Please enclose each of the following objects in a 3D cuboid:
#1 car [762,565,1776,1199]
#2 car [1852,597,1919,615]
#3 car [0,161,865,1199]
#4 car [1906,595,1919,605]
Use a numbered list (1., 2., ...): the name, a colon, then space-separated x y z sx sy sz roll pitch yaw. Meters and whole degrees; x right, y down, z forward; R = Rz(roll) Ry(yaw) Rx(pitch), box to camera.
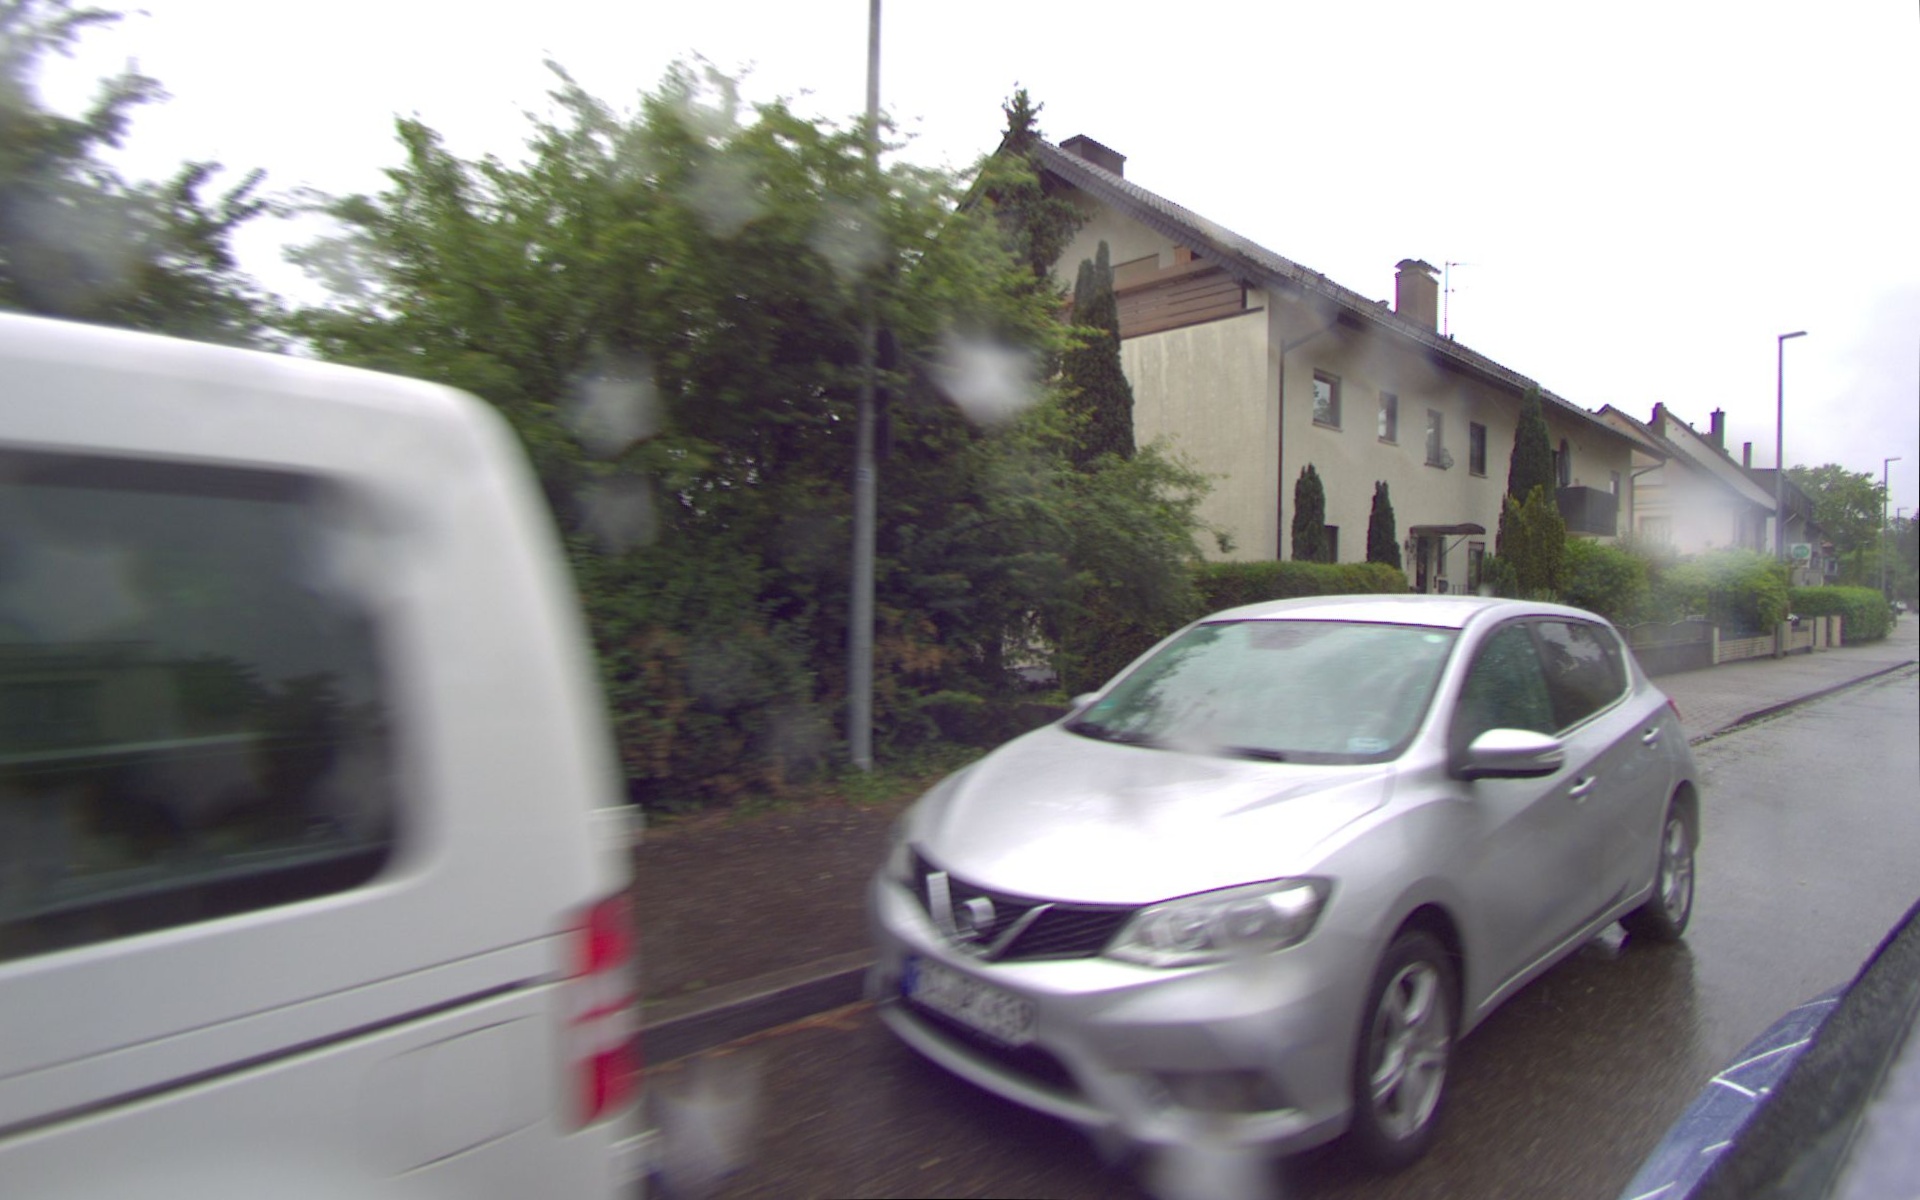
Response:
1. car: 1.545 0.654 4.016 4.231 1.478 1.793 0 1 -39
2. car: 76.242 0.474 82.920 1.879 1.381 4.392 0 1 -14
3. car: -2.354 0.521 0.702 4.282 1.813 1.789 0 1 -39
4. car: 175.770 0.055 186.433 1.917 1.779 3.943 1 1 39
